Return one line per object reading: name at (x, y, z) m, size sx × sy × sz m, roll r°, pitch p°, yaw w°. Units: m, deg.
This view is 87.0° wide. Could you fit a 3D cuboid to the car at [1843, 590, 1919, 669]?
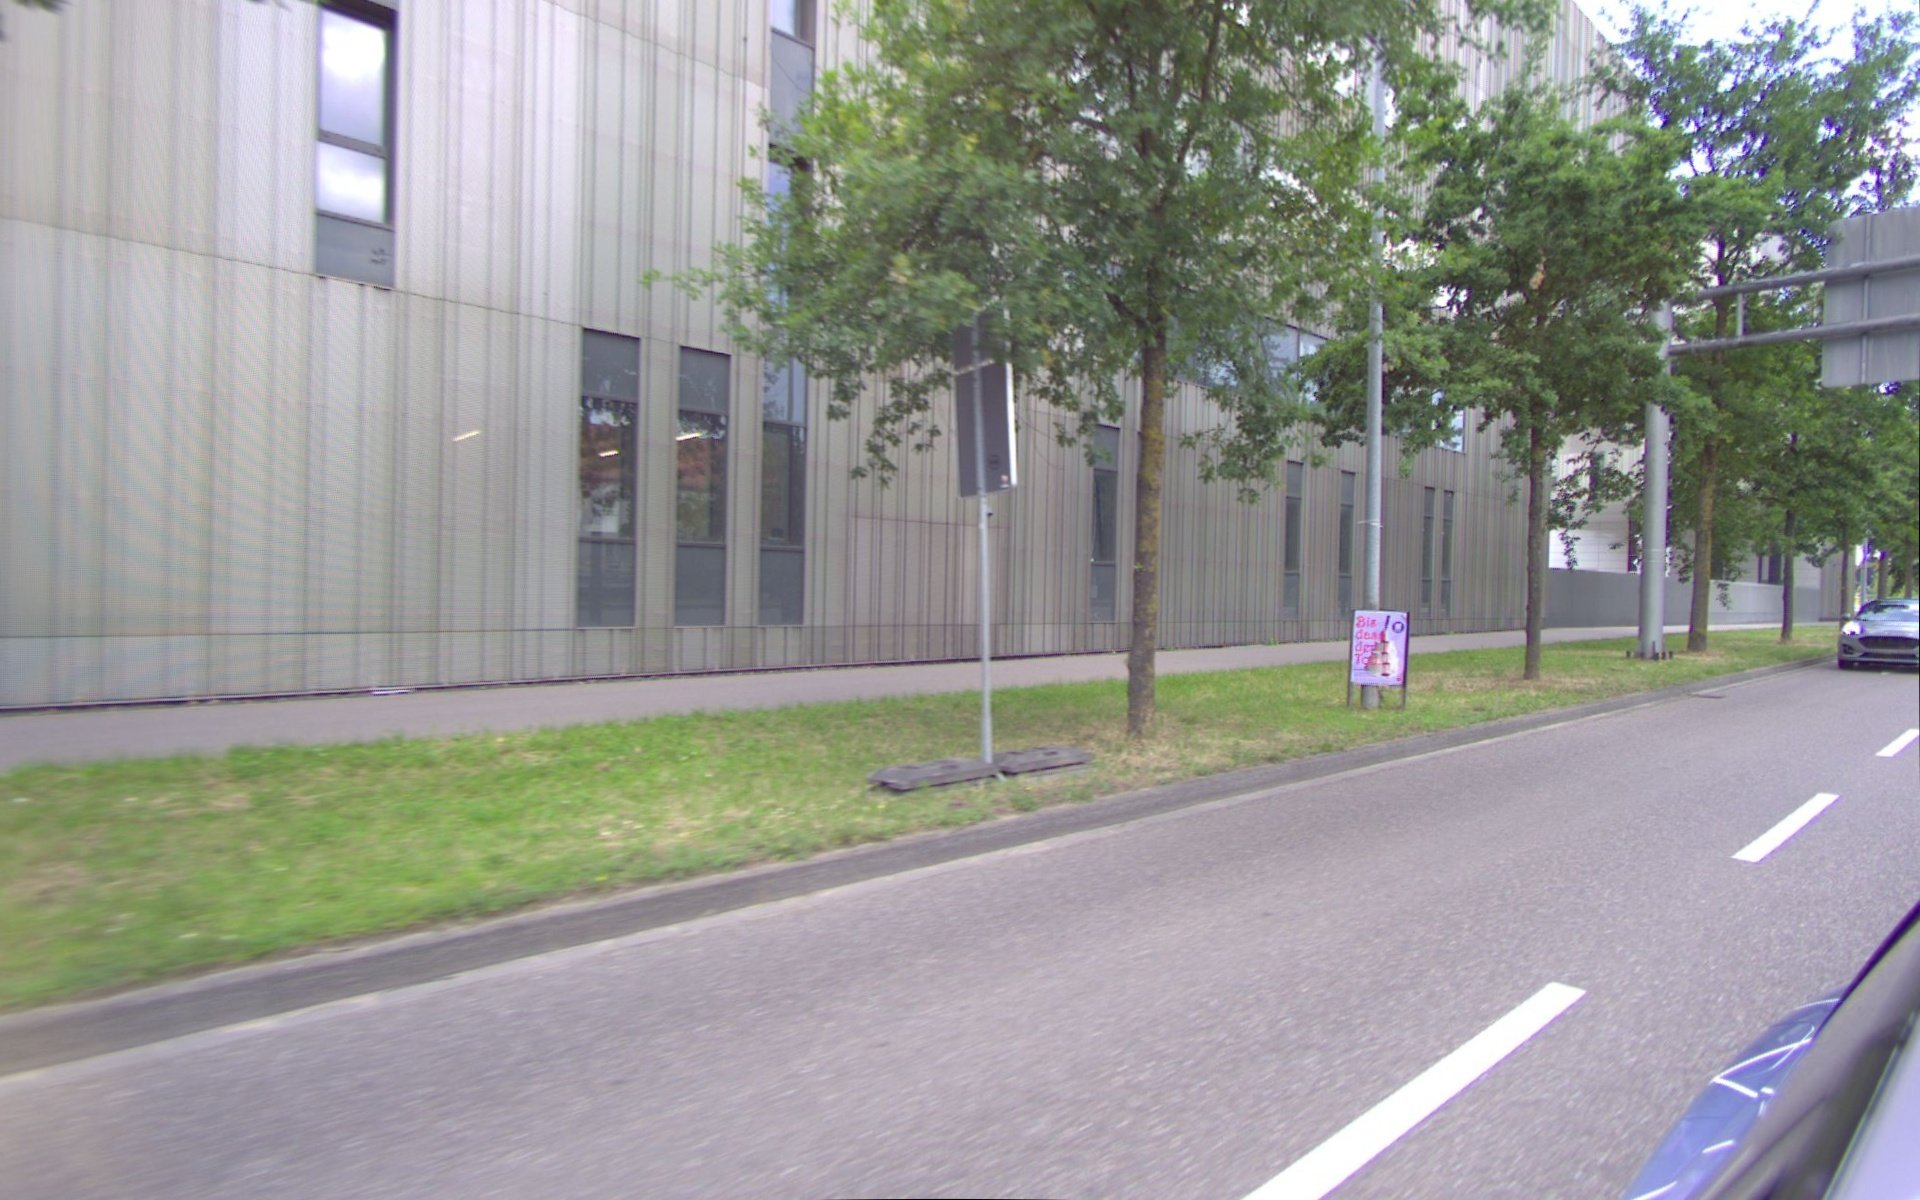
car at (20.566, 0.587, 21.808) m, size 3.885 × 1.594 × 1.822 m, roll 0°, pitch -1°, yaw -41°
